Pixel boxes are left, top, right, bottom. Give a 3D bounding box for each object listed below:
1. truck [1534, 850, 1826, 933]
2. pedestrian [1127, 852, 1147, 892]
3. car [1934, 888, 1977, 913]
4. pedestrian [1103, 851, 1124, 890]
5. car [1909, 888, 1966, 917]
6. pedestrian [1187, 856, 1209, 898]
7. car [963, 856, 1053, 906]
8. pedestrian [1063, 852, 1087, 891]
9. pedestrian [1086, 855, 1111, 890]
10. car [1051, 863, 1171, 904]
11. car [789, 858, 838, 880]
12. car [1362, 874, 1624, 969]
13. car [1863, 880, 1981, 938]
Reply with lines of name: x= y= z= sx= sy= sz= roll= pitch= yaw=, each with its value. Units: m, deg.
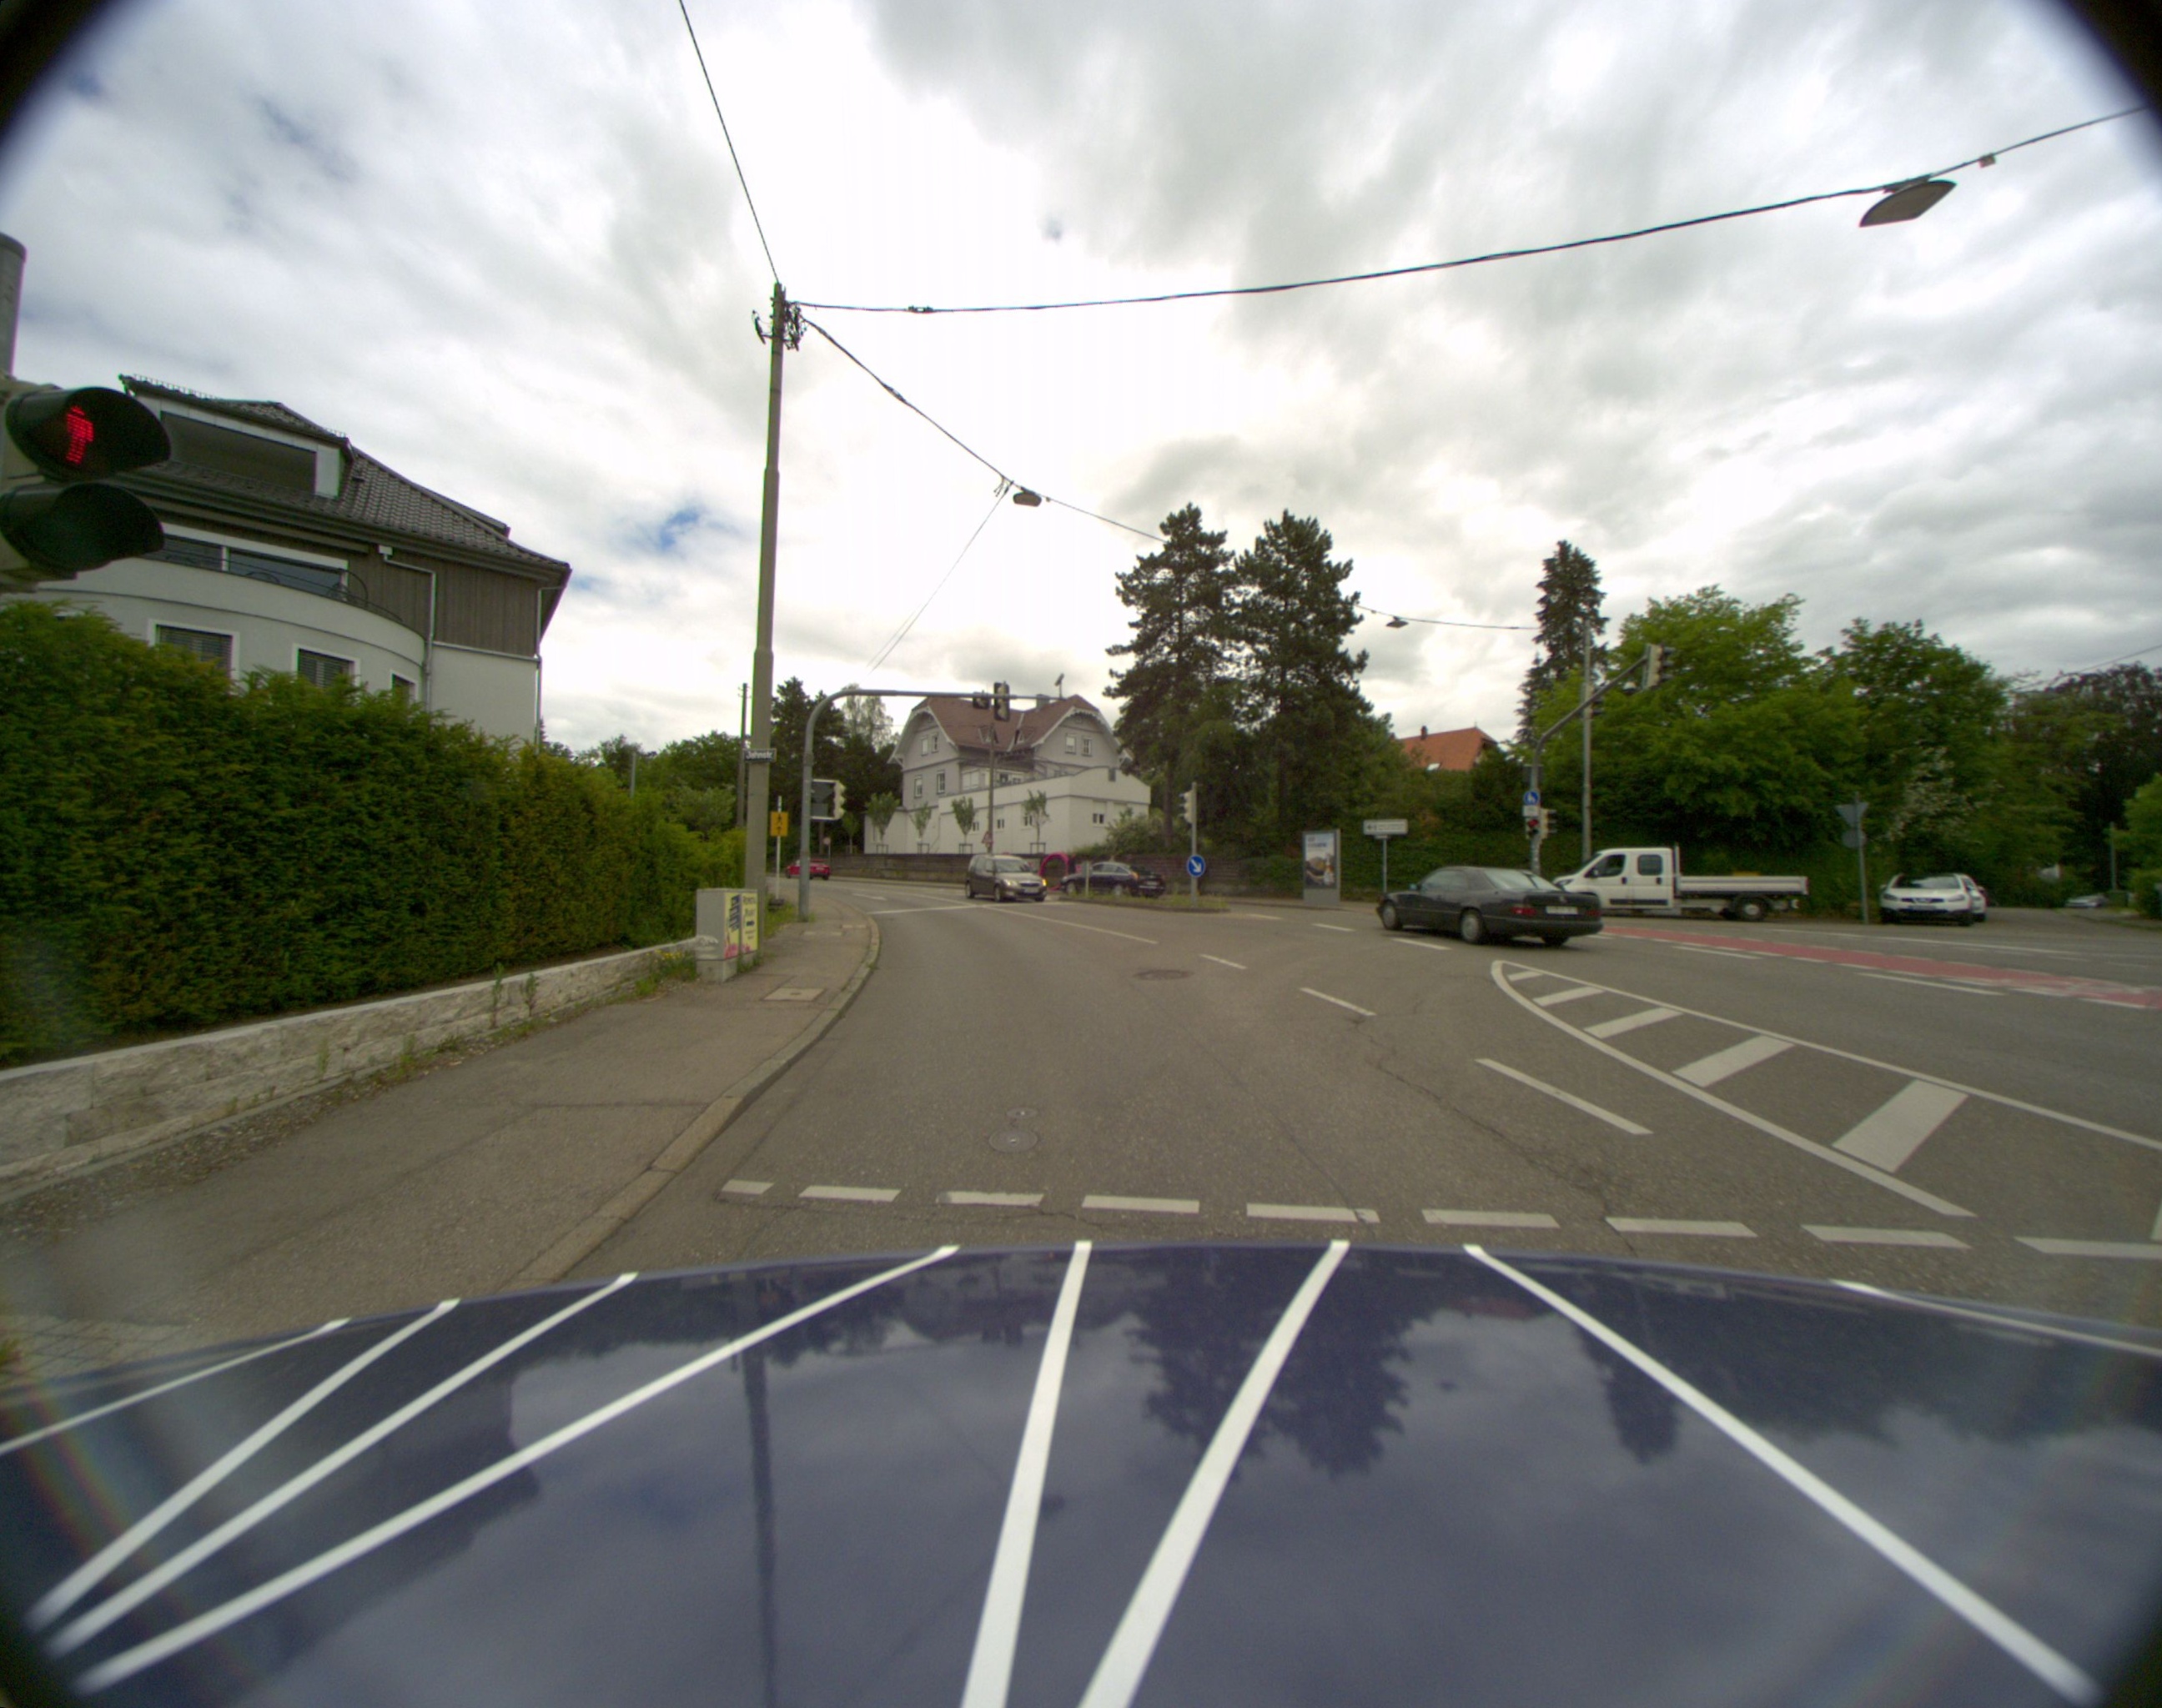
truck: x=18.029 y=1.046 z=23.531 sx=6.700 sy=2.176 sz=2.535 roll=1 pitch=0 yaw=27
pedestrian: x=2.557 y=0.810 z=34.657 sx=0.611 sy=1.824 sz=0.605 roll=1 pitch=0 yaw=43
car: x=61.120 y=3.215 z=53.105 sx=3.739 sy=1.577 sz=1.867 roll=1 pitch=-1 yaw=-39
pedestrian: x=1.497 y=0.762 z=34.716 sx=0.665 sy=1.777 sz=0.614 roll=1 pitch=0 yaw=44
car: x=53.502 y=2.983 z=47.427 sx=4.008 sy=1.607 sz=1.994 roll=1 pitch=0 yaw=-37
pedestrian: x=5.078 y=0.998 z=32.999 sx=0.611 sy=1.824 sz=0.680 roll=1 pitch=0 yaw=42
car: x=-2.564 y=0.855 z=25.964 sx=1.621 sy=1.571 sz=3.992 roll=0 pitch=0 yaw=-29
pedestrian: x=-0.299 y=0.838 z=36.293 sx=0.686 sy=1.803 sz=0.882 roll=1 pitch=0 yaw=44
pedestrian: x=0.852 y=0.860 z=36.401 sx=0.749 sy=1.643 sz=0.882 roll=1 pitch=0 yaw=44
car: x=1.065 y=1.106 z=29.718 sx=2.004 sy=1.414 sz=5.044 roll=1 pitch=0 yaw=-36
car: x=-18.393 y=0.990 z=52.165 sx=1.813 sy=1.348 sz=3.988 roll=4 pitch=-2 yaw=-41
car: x=7.305 y=1.113 z=14.205 sx=1.852 sy=1.320 sz=4.865 roll=1 pitch=0 yaw=-6
car: x=26.287 y=1.641 z=23.727 sx=4.008 sy=1.603 sz=1.994 roll=2 pitch=0 yaw=-36
